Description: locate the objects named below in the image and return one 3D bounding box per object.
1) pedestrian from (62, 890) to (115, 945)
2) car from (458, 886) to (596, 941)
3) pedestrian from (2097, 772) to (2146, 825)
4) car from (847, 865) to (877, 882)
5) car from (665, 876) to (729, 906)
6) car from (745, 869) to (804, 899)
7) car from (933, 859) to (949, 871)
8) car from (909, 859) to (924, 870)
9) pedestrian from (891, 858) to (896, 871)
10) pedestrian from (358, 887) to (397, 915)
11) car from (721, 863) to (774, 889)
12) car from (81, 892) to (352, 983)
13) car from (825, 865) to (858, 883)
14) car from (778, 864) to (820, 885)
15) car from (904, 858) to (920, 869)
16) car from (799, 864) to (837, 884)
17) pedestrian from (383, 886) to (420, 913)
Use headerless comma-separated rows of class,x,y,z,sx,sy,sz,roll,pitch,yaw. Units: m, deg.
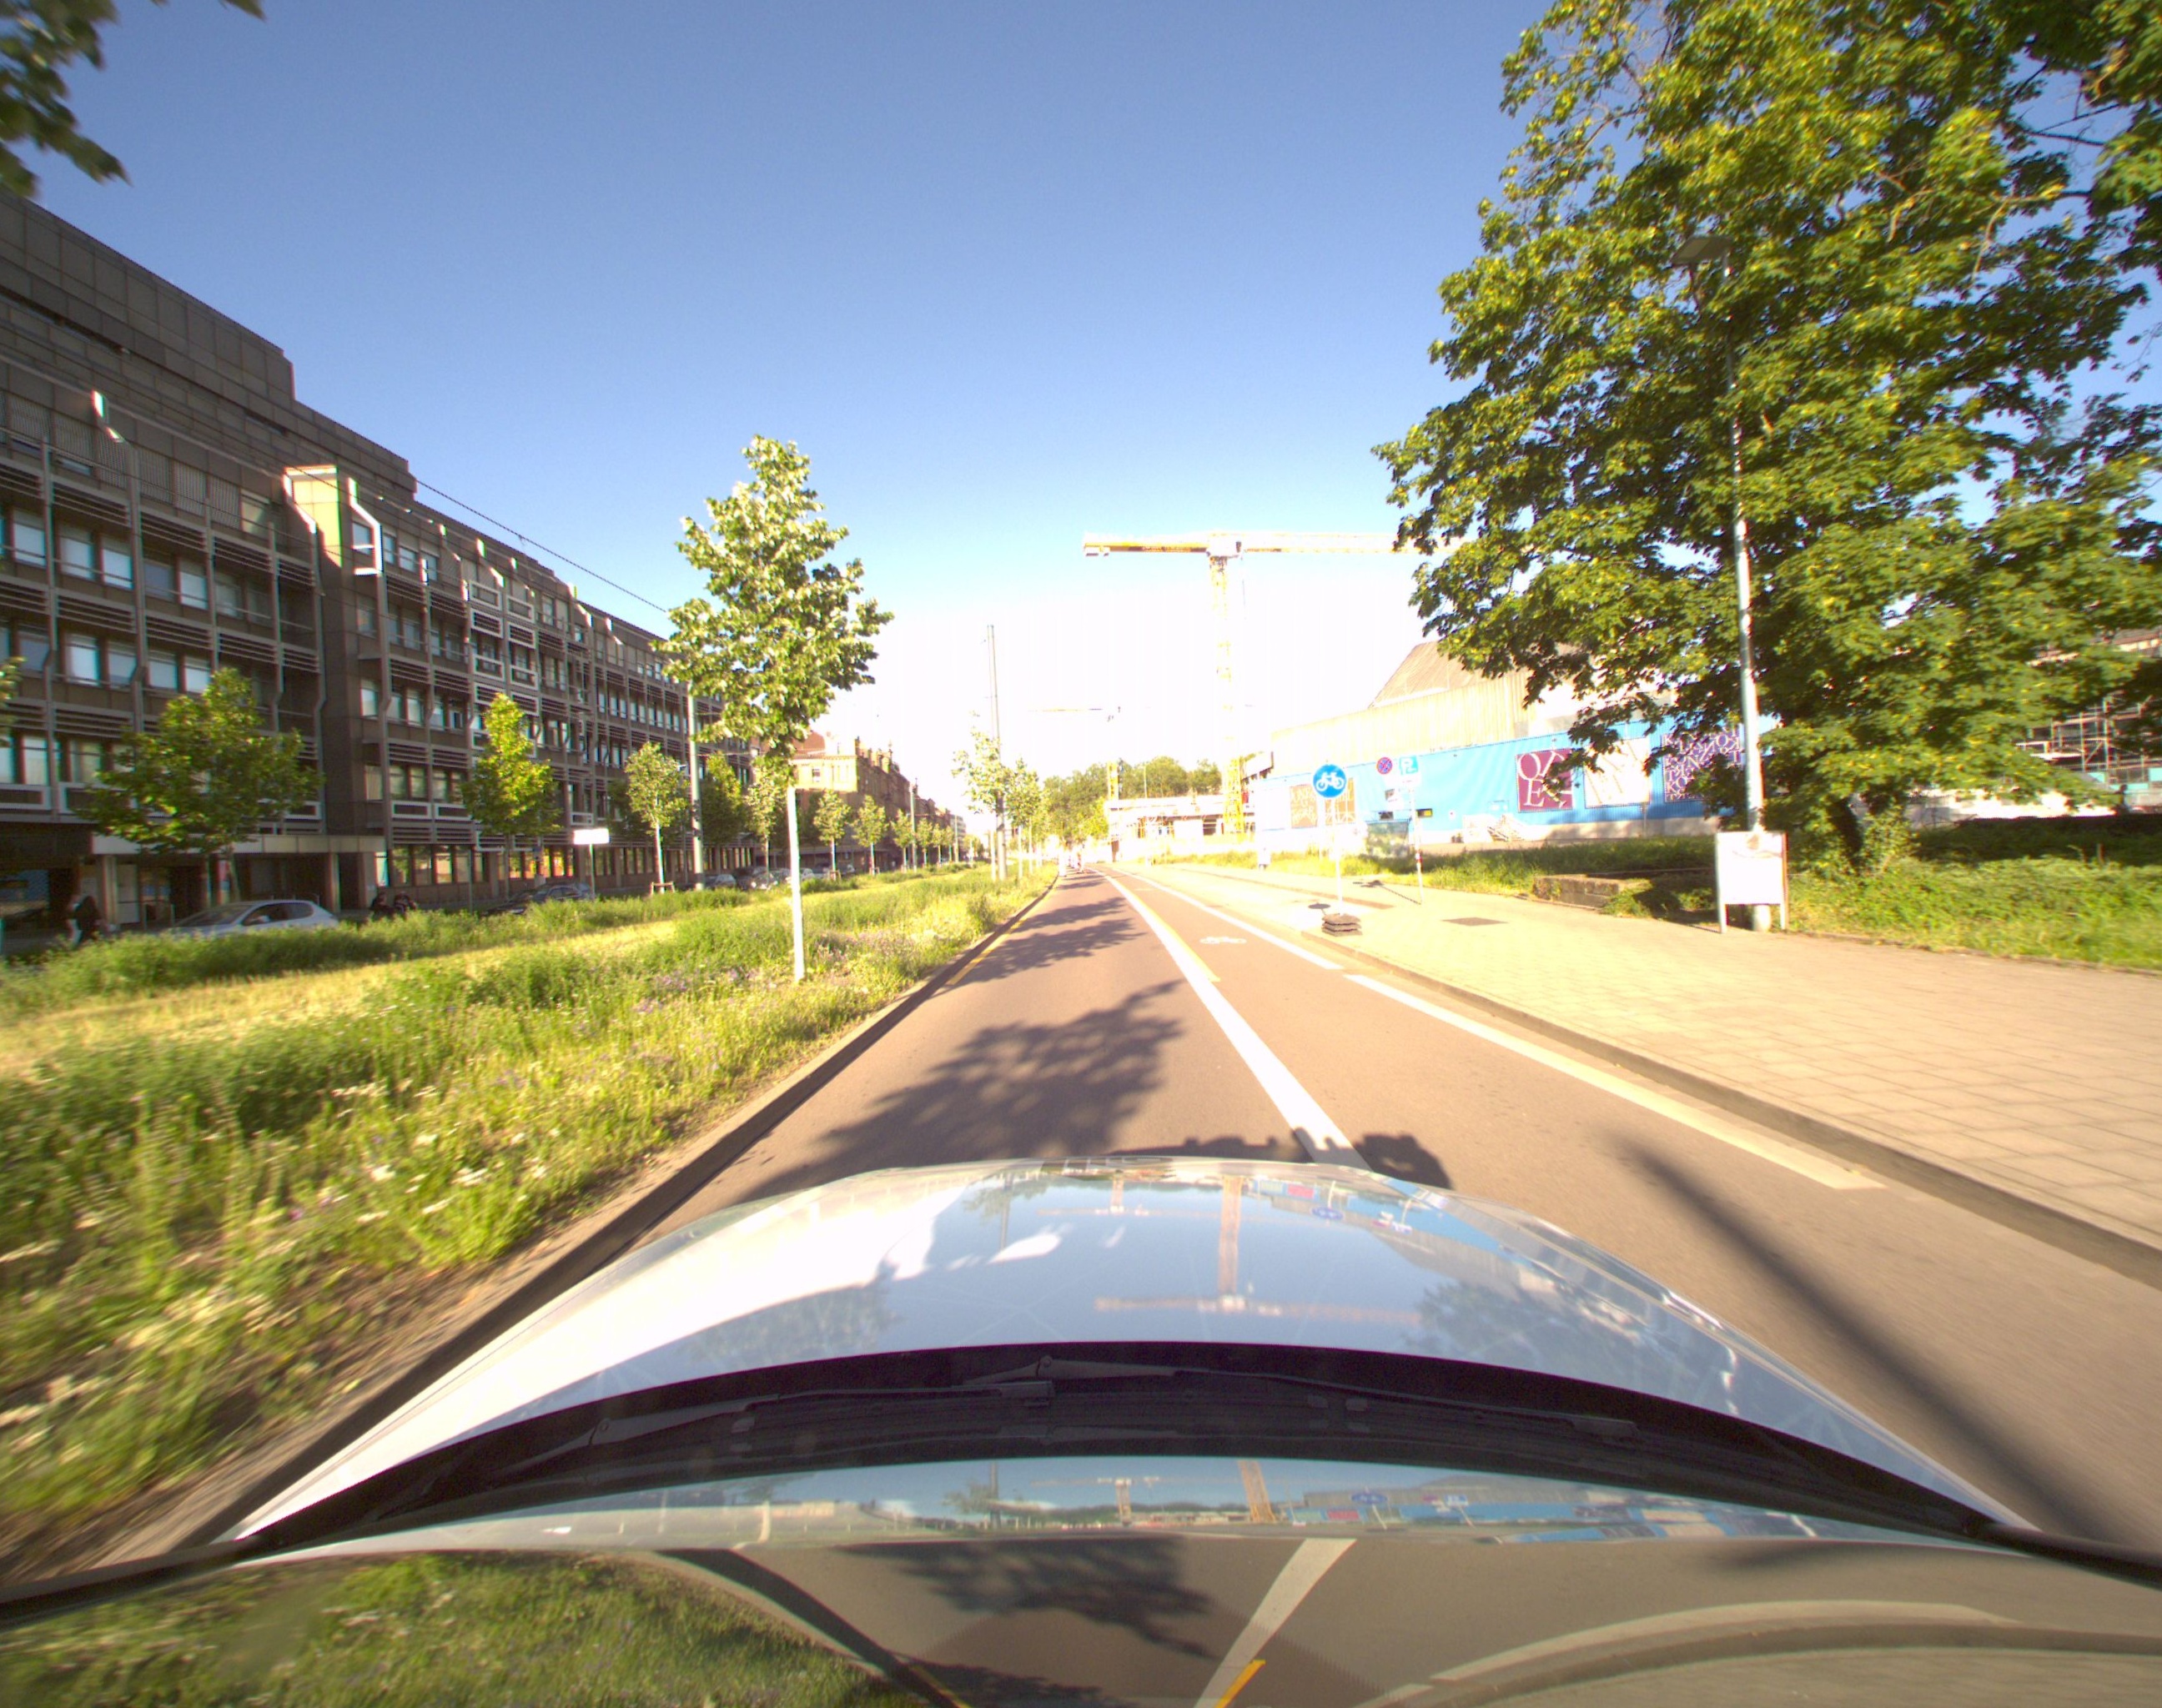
pedestrian,-28.994,1.838,23.790,0.661,1.532,0.649,-3,0,1
car,-20.215,2.106,29.998,1.897,1.575,4.412,-3,0,1
pedestrian,41.545,-2.222,32.515,0.915,2.014,0.941,-2,-2,-26
car,-24.195,2.151,90.104,1.897,1.575,4.302,-3,0,1
car,-24.469,2.333,52.101,1.897,1.575,4.302,-3,0,1
car,-19.288,1.854,51.451,1.897,1.575,4.302,-3,0,1
car,-21.002,1.605,122.328,1.901,1.575,4.293,-3,0,-5
car,-26.124,1.591,129.418,1.901,1.575,4.293,-3,0,-5
pedestrian,-28.308,1.538,122.805,0.549,1.947,0.649,-3,0,-6
pedestrian,-31.335,2.088,36.290,0.897,1.169,0.866,-3,0,1
car,-23.739,1.556,58.154,1.897,1.575,4.302,-3,0,1
car,-19.818,1.840,18.987,1.897,1.575,4.001,-3,0,1
car,-24.063,1.985,81.931,1.897,1.575,4.302,-3,0,1
car,-23.681,1.690,68.508,1.897,1.575,4.302,-3,0,1
car,-25.752,1.407,124.134,1.901,1.575,4.293,-3,0,-5
car,-23.947,1.826,74.331,1.897,1.575,4.302,-3,0,1
pedestrian,-31.269,2.084,37.479,0.896,1.169,0.900,-3,0,3
